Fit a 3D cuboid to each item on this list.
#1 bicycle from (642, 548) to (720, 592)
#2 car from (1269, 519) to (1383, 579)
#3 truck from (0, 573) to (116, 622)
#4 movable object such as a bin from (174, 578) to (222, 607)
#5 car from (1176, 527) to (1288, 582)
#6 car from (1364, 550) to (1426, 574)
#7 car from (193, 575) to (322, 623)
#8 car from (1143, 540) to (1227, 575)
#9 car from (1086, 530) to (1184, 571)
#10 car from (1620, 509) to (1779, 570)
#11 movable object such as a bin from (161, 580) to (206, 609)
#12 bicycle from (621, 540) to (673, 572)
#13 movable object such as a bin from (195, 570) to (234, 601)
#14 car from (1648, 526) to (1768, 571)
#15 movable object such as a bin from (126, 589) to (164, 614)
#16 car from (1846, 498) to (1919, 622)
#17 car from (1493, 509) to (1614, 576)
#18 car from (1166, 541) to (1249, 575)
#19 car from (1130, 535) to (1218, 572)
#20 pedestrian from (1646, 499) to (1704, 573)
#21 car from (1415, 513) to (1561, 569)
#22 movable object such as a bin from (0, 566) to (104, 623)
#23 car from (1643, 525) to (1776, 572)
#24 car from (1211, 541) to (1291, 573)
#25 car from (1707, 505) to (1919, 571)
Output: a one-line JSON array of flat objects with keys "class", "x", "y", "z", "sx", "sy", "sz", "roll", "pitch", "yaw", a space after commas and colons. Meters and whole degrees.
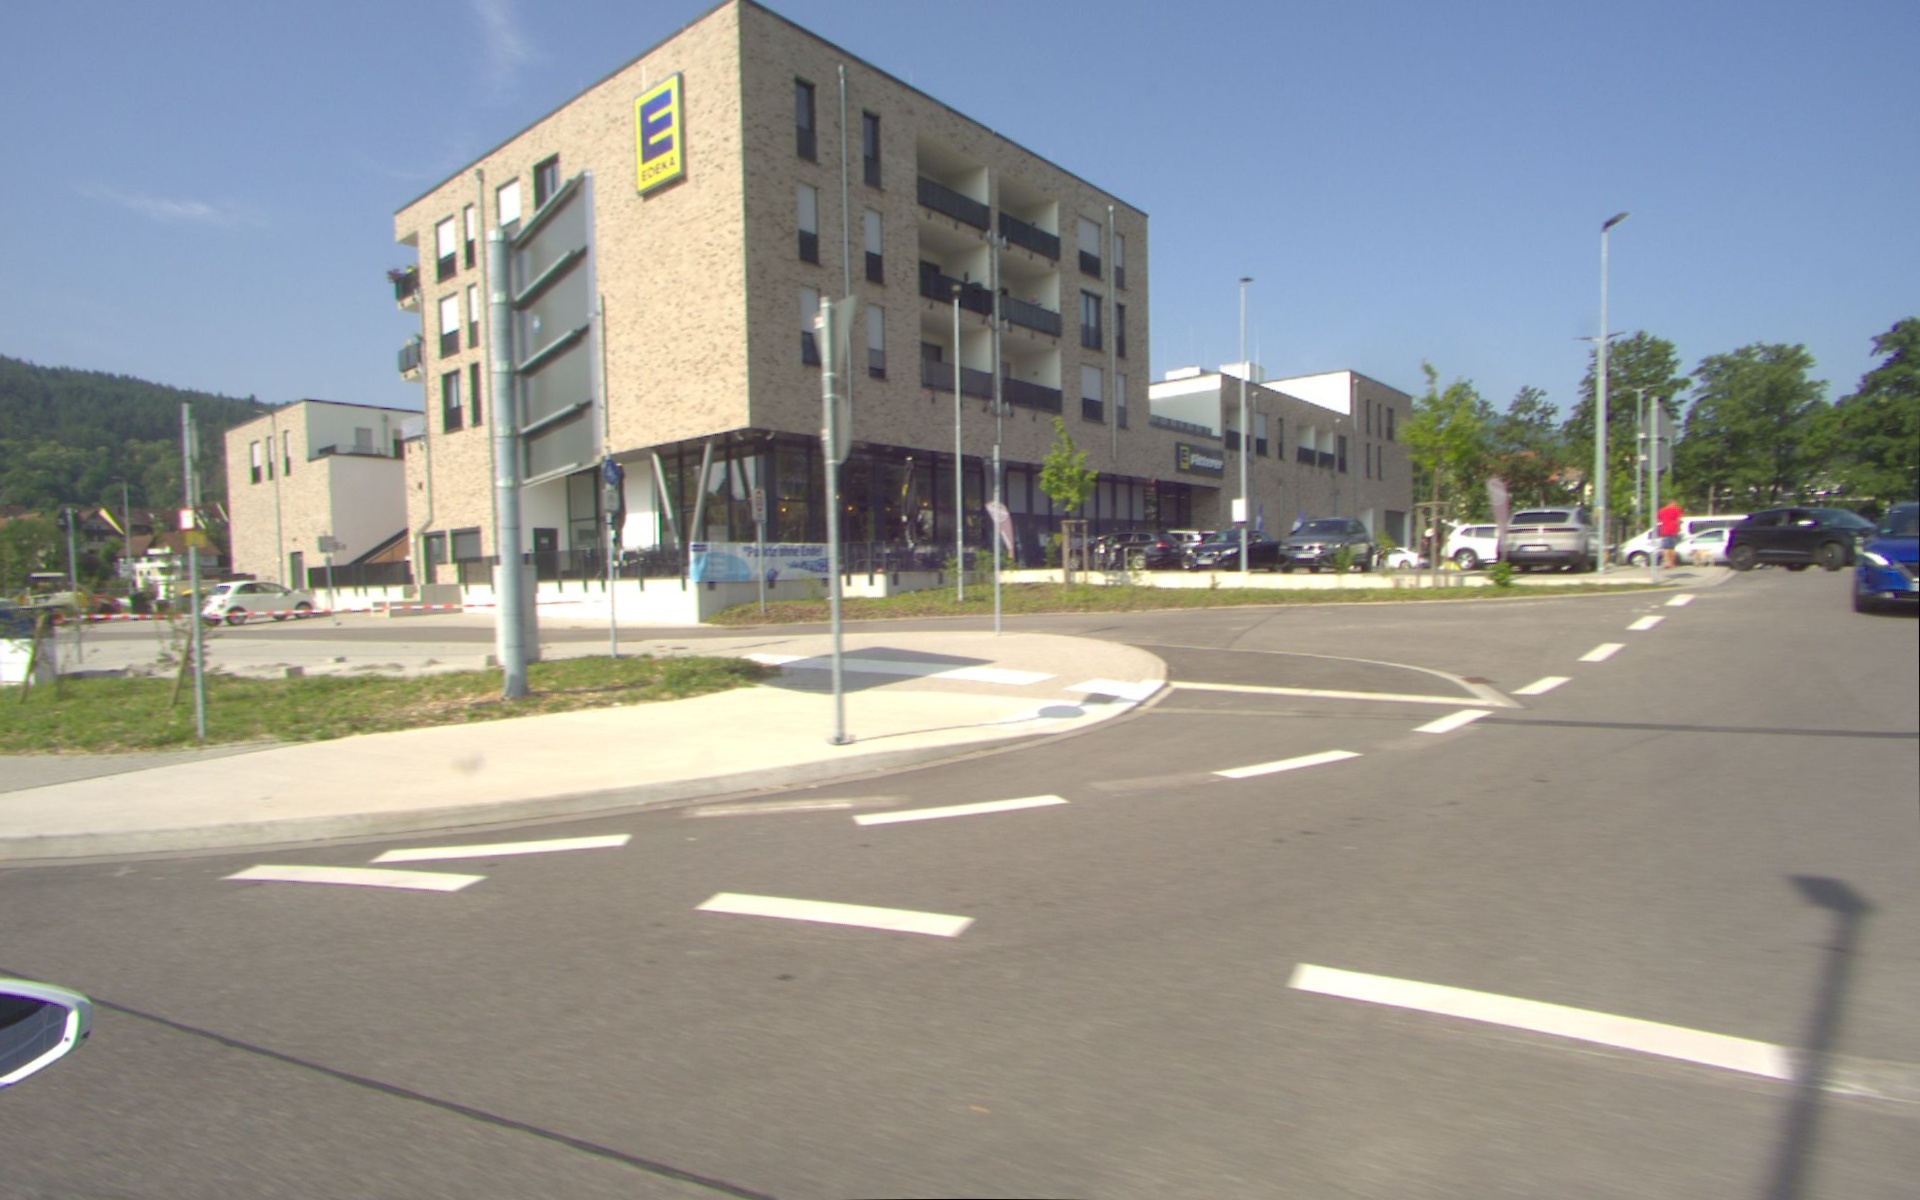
[{"class": "bicycle", "x": -7.917, "y": -0.834, "z": 28.542, "sx": 0.844, "sy": 1.159, "sz": 2.236, "roll": 1, "pitch": 0, "yaw": 28}, {"class": "car", "x": 10.792, "y": -1.553, "z": 29.370, "sx": 1.834, "sy": 1.578, "sz": 4.424, "roll": 3, "pitch": 6, "yaw": 38}, {"class": "truck", "x": -47.722, "y": -0.125, "z": 52.374, "sx": 5.267, "sy": 2.297, "sz": 2.201, "roll": -4, "pitch": 3, "yaw": -39}, {"class": "movable object such as a bin", "x": -39.678, "y": -0.375, "z": 52.158, "sx": 1.302, "sy": 1.483, "sz": 1.688, "roll": 1, "pitch": 0, "yaw": 36}, {"class": "car", "x": 8.704, "y": -1.495, "z": 31.810, "sx": 1.834, "sy": 1.578, "sz": 4.424, "roll": 3, "pitch": 6, "yaw": 38}, {"class": "car", "x": 26.679, "y": -2.302, "z": 61.382, "sx": 3.285, "sy": 1.368, "sz": 1.619, "roll": 0, "pitch": 0, "yaw": 33}, {"class": "car", "x": -25.261, "y": -0.077, "z": 36.137, "sx": 1.569, "sy": 1.515, "sz": 3.402, "roll": -2, "pitch": 2, "yaw": 25}, {"class": "car", "x": 9.898, "y": -1.836, "z": 44.100, "sx": 3.298, "sy": 1.368, "sz": 1.533, "roll": 0, "pitch": 0, "yaw": 45}, {"class": "car", "x": 6.463, "y": -1.803, "z": 37.080, "sx": 3.287, "sy": 1.368, "sz": 1.482, "roll": 0, "pitch": 0, "yaw": 35}, {"class": "car", "x": 27.565, "y": -2.190, "z": 37.532, "sx": 4.579, "sy": 2.040, "sz": 1.990, "roll": 0, "pitch": 0, "yaw": 32}, {"class": "movable object such as a bin", "x": -40.896, "y": -0.293, "z": 52.757, "sx": 1.302, "sy": 1.483, "sz": 1.575, "roll": 1, "pitch": 0, "yaw": 36}, {"class": "bicycle", "x": -11.196, "y": -1.566, "z": 35.751, "sx": 2.218, "sy": 1.059, "sz": 0.688, "roll": 0, "pitch": 0, "yaw": 40}, {"class": "movable object such as a bin", "x": -37.677, "y": -0.724, "z": 50.608, "sx": 1.302, "sy": 1.483, "sz": 1.295, "roll": 1, "pitch": 0, "yaw": 36}, {"class": "car", "x": 26.297, "y": -1.777, "z": 35.350, "sx": 3.286, "sy": 1.368, "sz": 1.619, "roll": -1, "pitch": 0, "yaw": 34}, {"class": "movable object such as a bin", "x": -43.010, "y": 0.089, "z": 52.840, "sx": 1.302, "sy": 1.285, "sz": 1.292, "roll": 1, "pitch": 0, "yaw": 36}, {"class": "car", "x": 15.327, "y": -0.721, "z": 15.858, "sx": 1.865, "sy": 1.687, "sz": 4.313, "roll": 1, "pitch": 6, "yaw": 41}, {"class": "car", "x": 15.474, "y": -1.558, "z": 25.980, "sx": 1.836, "sy": 1.578, "sz": 4.778, "roll": 3, "pitch": 6, "yaw": 41}, {"class": "car", "x": 11.179, "y": -1.863, "z": 45.355, "sx": 1.569, "sy": 1.368, "sz": 3.299, "roll": 1, "pitch": 0, "yaw": -44}, {"class": "car", "x": 8.889, "y": -1.915, "z": 41.644, "sx": 3.295, "sy": 1.368, "sz": 1.478, "roll": 0, "pitch": 0, "yaw": 43}, {"class": "pedestrian", "x": 17.793, "y": -1.575, "z": 24.926, "sx": 0.863, "sy": 1.764, "sz": 0.757, "roll": 1, "pitch": 0, "yaw": -3}, {"class": "car", "x": 19.599, "y": -2.133, "z": 37.276, "sx": 4.525, "sy": 1.906, "sz": 1.983, "roll": 0, "pitch": 2, "yaw": 41}, {"class": "movable object such as a bin", "x": -45.679, "y": -0.297, "z": 49.733, "sx": 4.571, "sy": 2.605, "sz": 1.909, "roll": -4, "pitch": 3, "yaw": -39}, {"class": "car", "x": 29.232, "y": -1.975, "z": 39.216, "sx": 3.941, "sy": 1.661, "sz": 1.864, "roll": 0, "pitch": 0, "yaw": 32}, {"class": "car", "x": 13.834, "y": -2.016, "z": 47.697, "sx": 1.569, "sy": 1.368, "sz": 3.299, "roll": 1, "pitch": 0, "yaw": -44}, {"class": "car", "x": 21.000, "y": -1.506, "z": 24.726, "sx": 1.612, "sy": 1.412, "sz": 4.224, "roll": -3, "pitch": 3, "yaw": -7}]
